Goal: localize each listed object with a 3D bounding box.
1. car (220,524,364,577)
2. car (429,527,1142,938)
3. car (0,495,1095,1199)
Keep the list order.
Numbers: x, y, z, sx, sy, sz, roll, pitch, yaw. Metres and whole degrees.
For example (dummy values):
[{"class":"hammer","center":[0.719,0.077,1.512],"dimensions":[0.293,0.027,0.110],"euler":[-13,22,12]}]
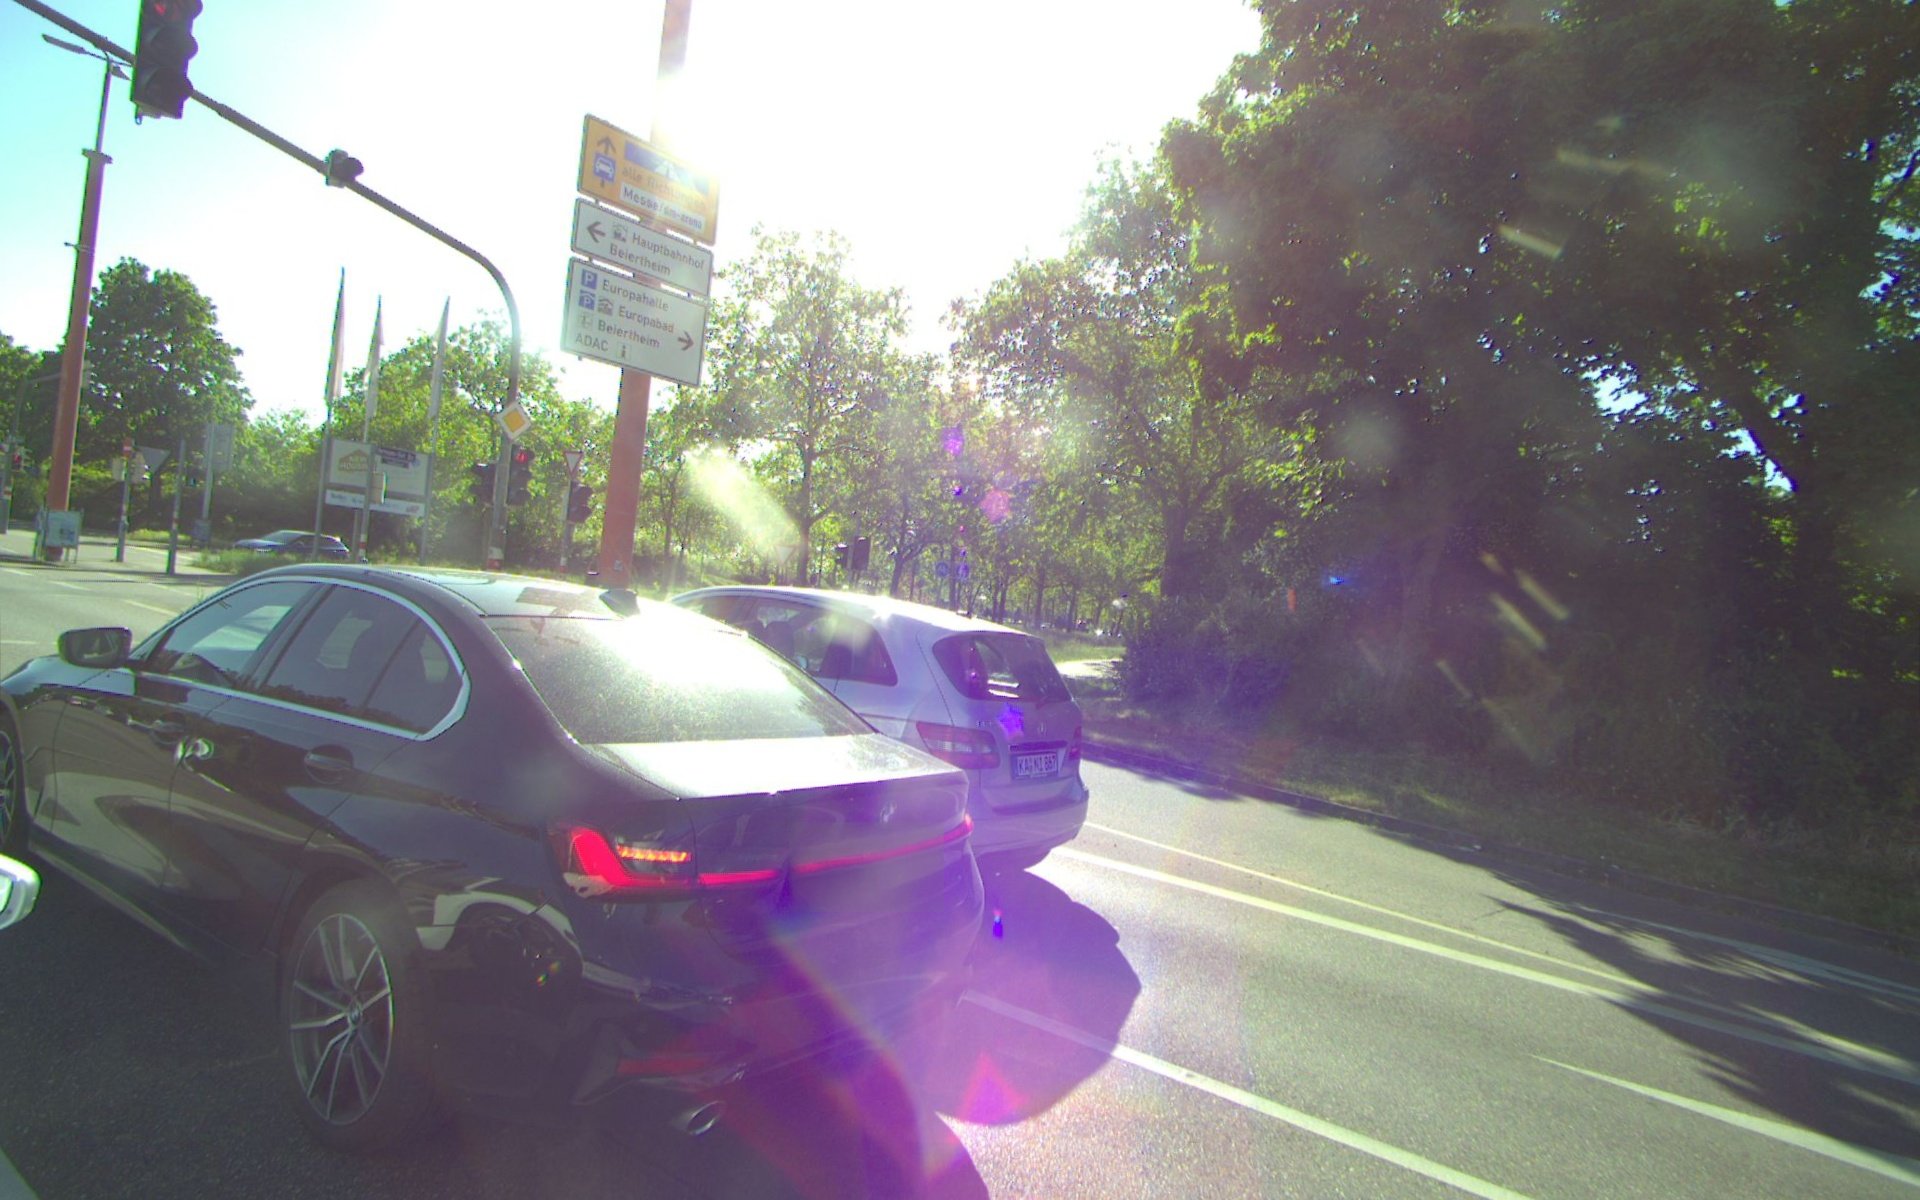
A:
[{"class":"car","center":[-25.094,-1.815,37.987],"dimensions":[1.848,1.445,4.283],"euler":[7,-1,14]},{"class":"car","center":[-1.290,0.637,6.792],"dimensions":[4.403,1.706,1.970],"euler":[7,-1,32]},{"class":"car","center":[-1.968,0.526,3.885],"dimensions":[4.403,1.411,1.996],"euler":[7,0,32]}]
